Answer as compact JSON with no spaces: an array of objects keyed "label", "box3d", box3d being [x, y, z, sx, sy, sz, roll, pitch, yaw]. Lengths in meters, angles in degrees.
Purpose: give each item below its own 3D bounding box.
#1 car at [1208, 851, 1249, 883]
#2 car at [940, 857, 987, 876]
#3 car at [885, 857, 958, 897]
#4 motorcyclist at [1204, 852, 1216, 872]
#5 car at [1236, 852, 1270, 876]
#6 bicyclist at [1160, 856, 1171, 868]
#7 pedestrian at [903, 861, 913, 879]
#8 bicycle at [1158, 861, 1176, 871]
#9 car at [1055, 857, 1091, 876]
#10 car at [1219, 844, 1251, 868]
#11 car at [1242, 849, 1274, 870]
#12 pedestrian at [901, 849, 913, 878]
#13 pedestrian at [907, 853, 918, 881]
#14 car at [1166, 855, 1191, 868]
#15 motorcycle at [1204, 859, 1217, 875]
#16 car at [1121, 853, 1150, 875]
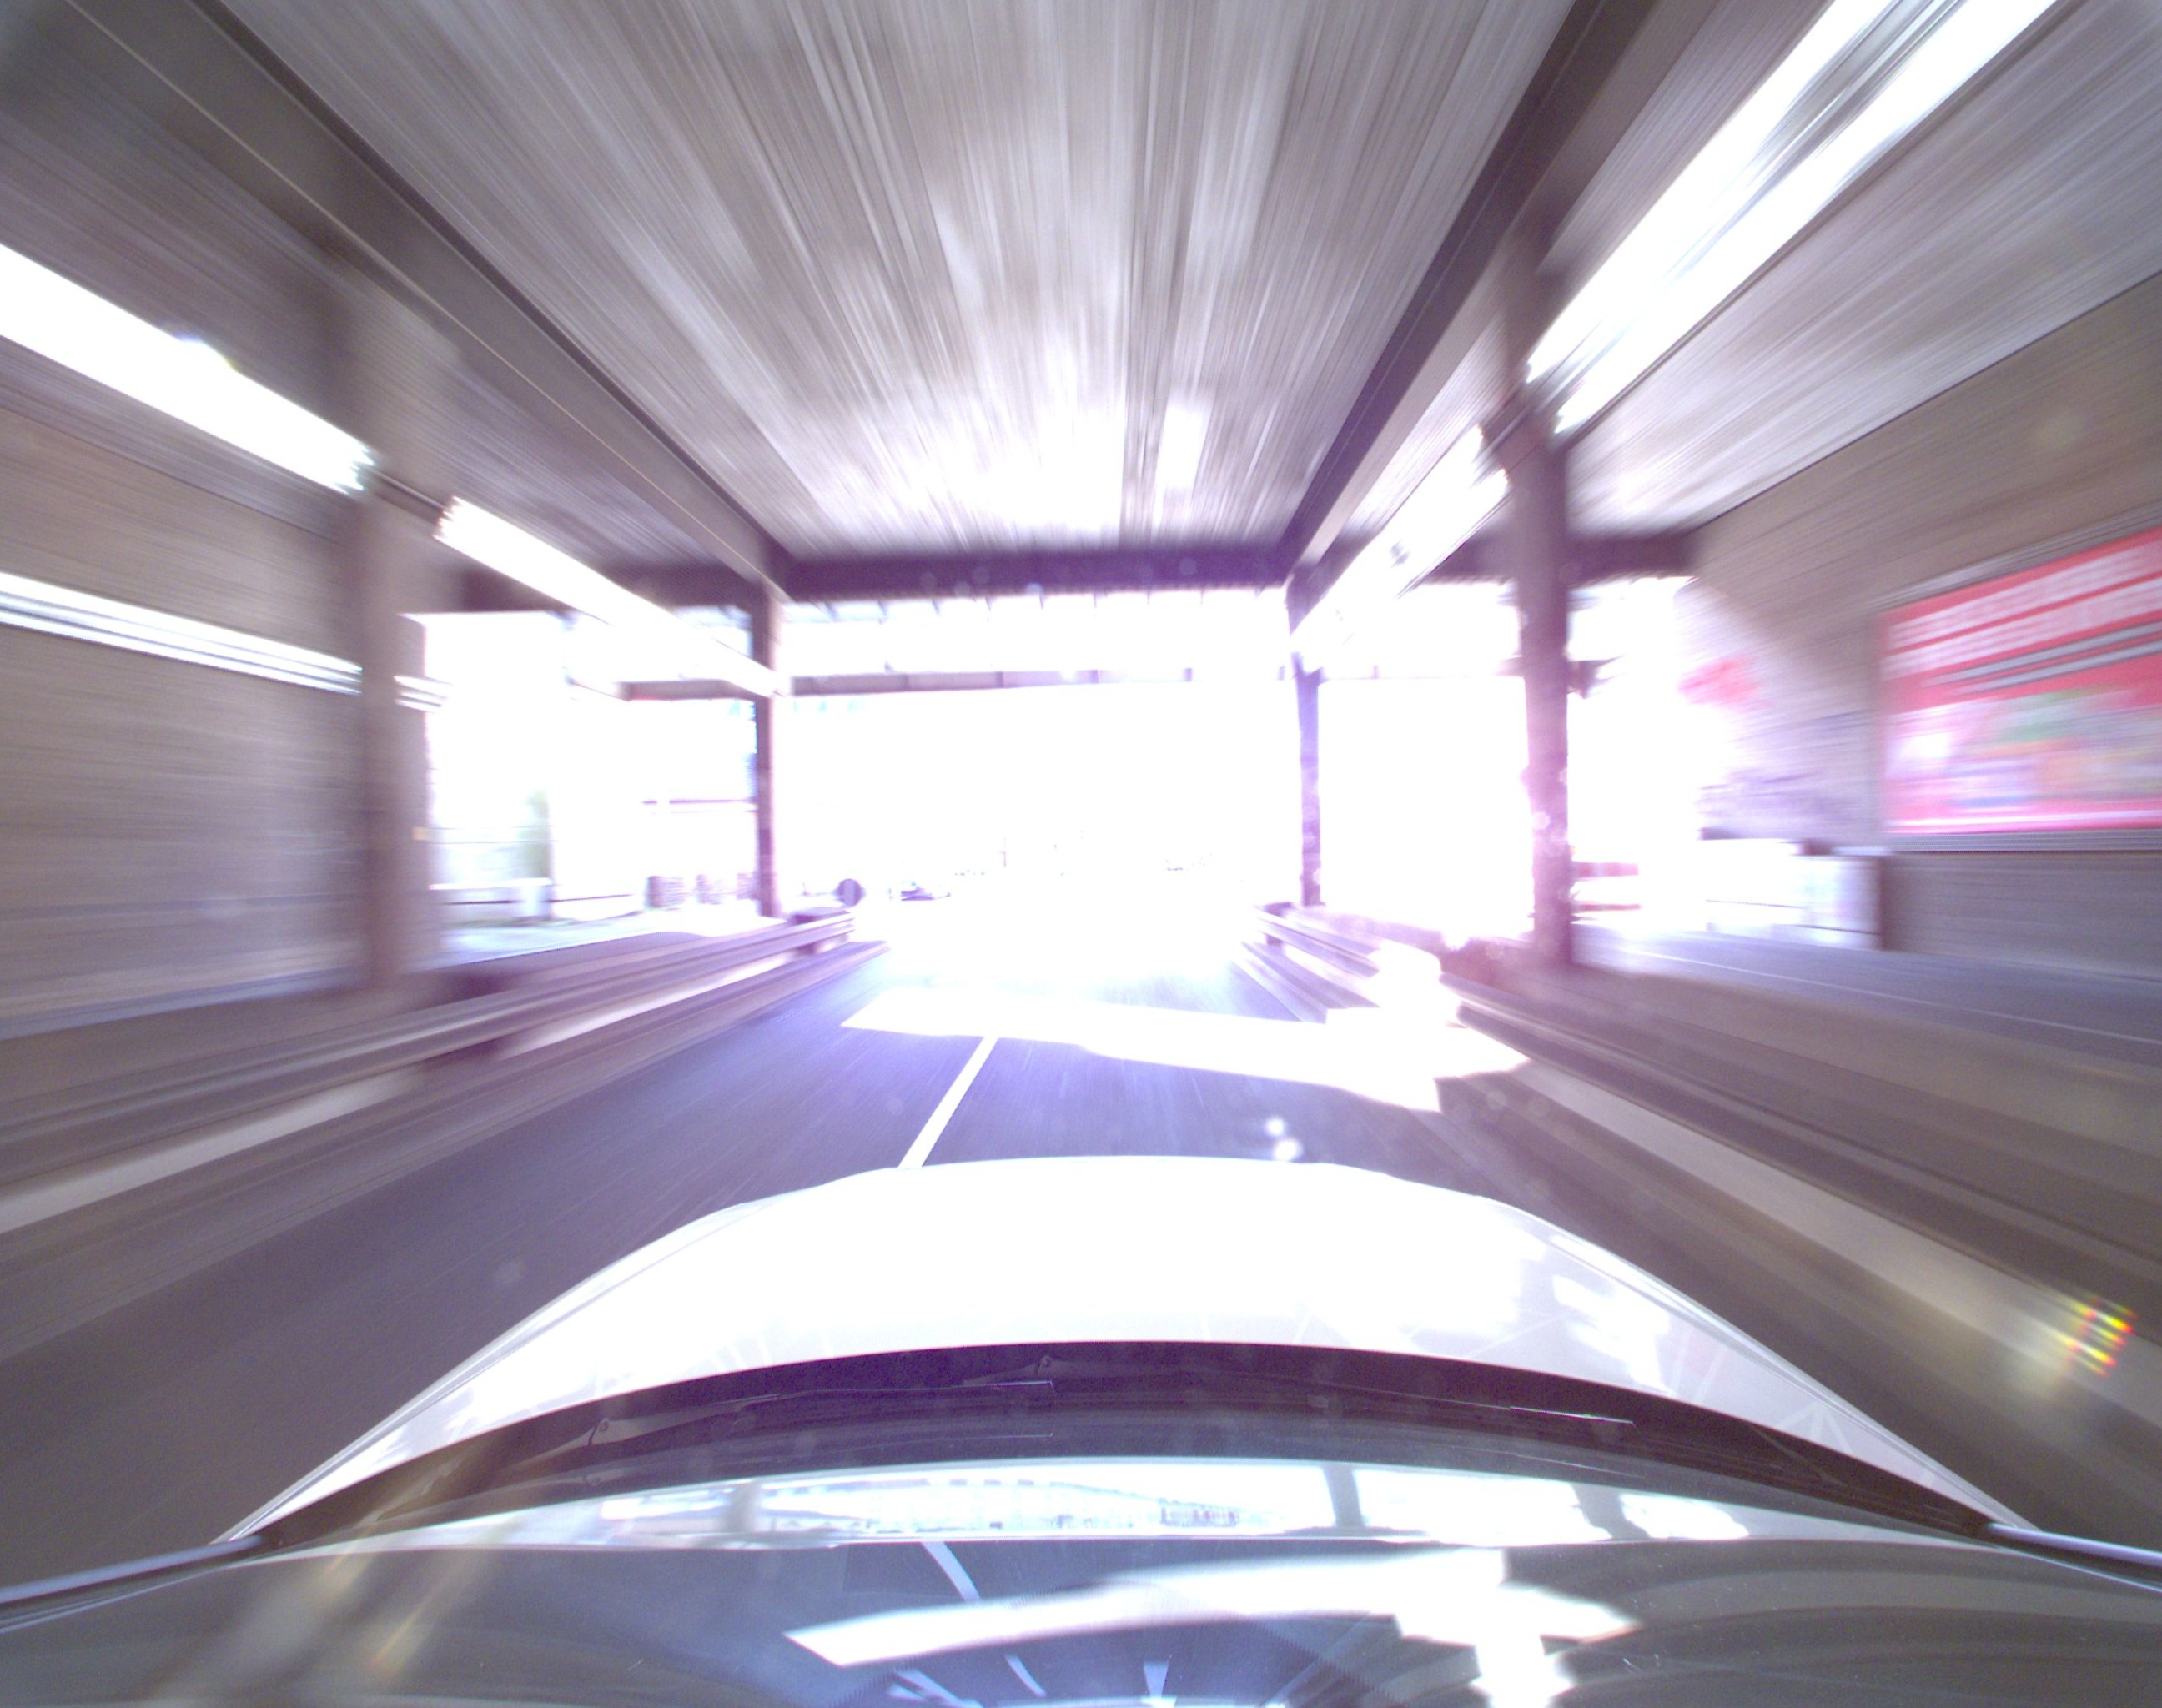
[{"label":"car","box3d":[7.413,0.627,40.970,1.935,1.528,4.101,-1,0,10]},{"label":"car","box3d":[-10.271,1.069,71.057,3.874,1.574,1.921,-1,0,-15]},{"label":"car","box3d":[-6.113,0.845,31.736,1.745,1.405,4.419,-1,0,3]},{"label":"motorcyclist","box3d":[9.485,0.590,59.833,0.772,1.423,0.894,-1,0,11]},{"label":"car","box3d":[11.348,0.619,53.552,1.717,1.500,4.019,-1,0,18]},{"label":"bicyclist","box3d":[10.071,0.912,96.561,0.925,1.382,1.155,-1,0,27]},{"label":"pedestrian","box3d":[-15.788,1.463,74.255,0.715,1.563,0.677,-1,-1,0]},{"label":"bicycle","box3d":[10.260,1.395,96.888,0.925,1.056,3.374,-1,0,27]},{"label":"car","box3d":[-0.596,0.946,63.757,1.798,1.391,4.262,-1,0,13]},{"label":"car","box3d":[13.371,0.171,70.532,2.155,2.009,4.829,-2,-1,17]},{"label":"car","box3d":[13.711,0.421,62.873,1.799,1.582,4.020,-1,-1,20]},{"label":"pedestrian","box3d":[-9.886,0.547,46.162,0.515,1.640,0.620,-1,-1,-25]},{"label":"pedestrian","box3d":[-9.957,0.763,48.160,0.490,1.640,0.620,-1,-1,-25]},{"label":"car","box3d":[10.994,0.860,91.933,1.808,1.425,4.349,-1,0,20]},{"label":"motorcycle","box3d":[9.516,0.929,59.862,0.772,1.082,2.288,-1,0,12]},{"label":"car","box3d":[3.579,0.628,53.919,1.780,1.394,4.107,-1,0,2]}]
